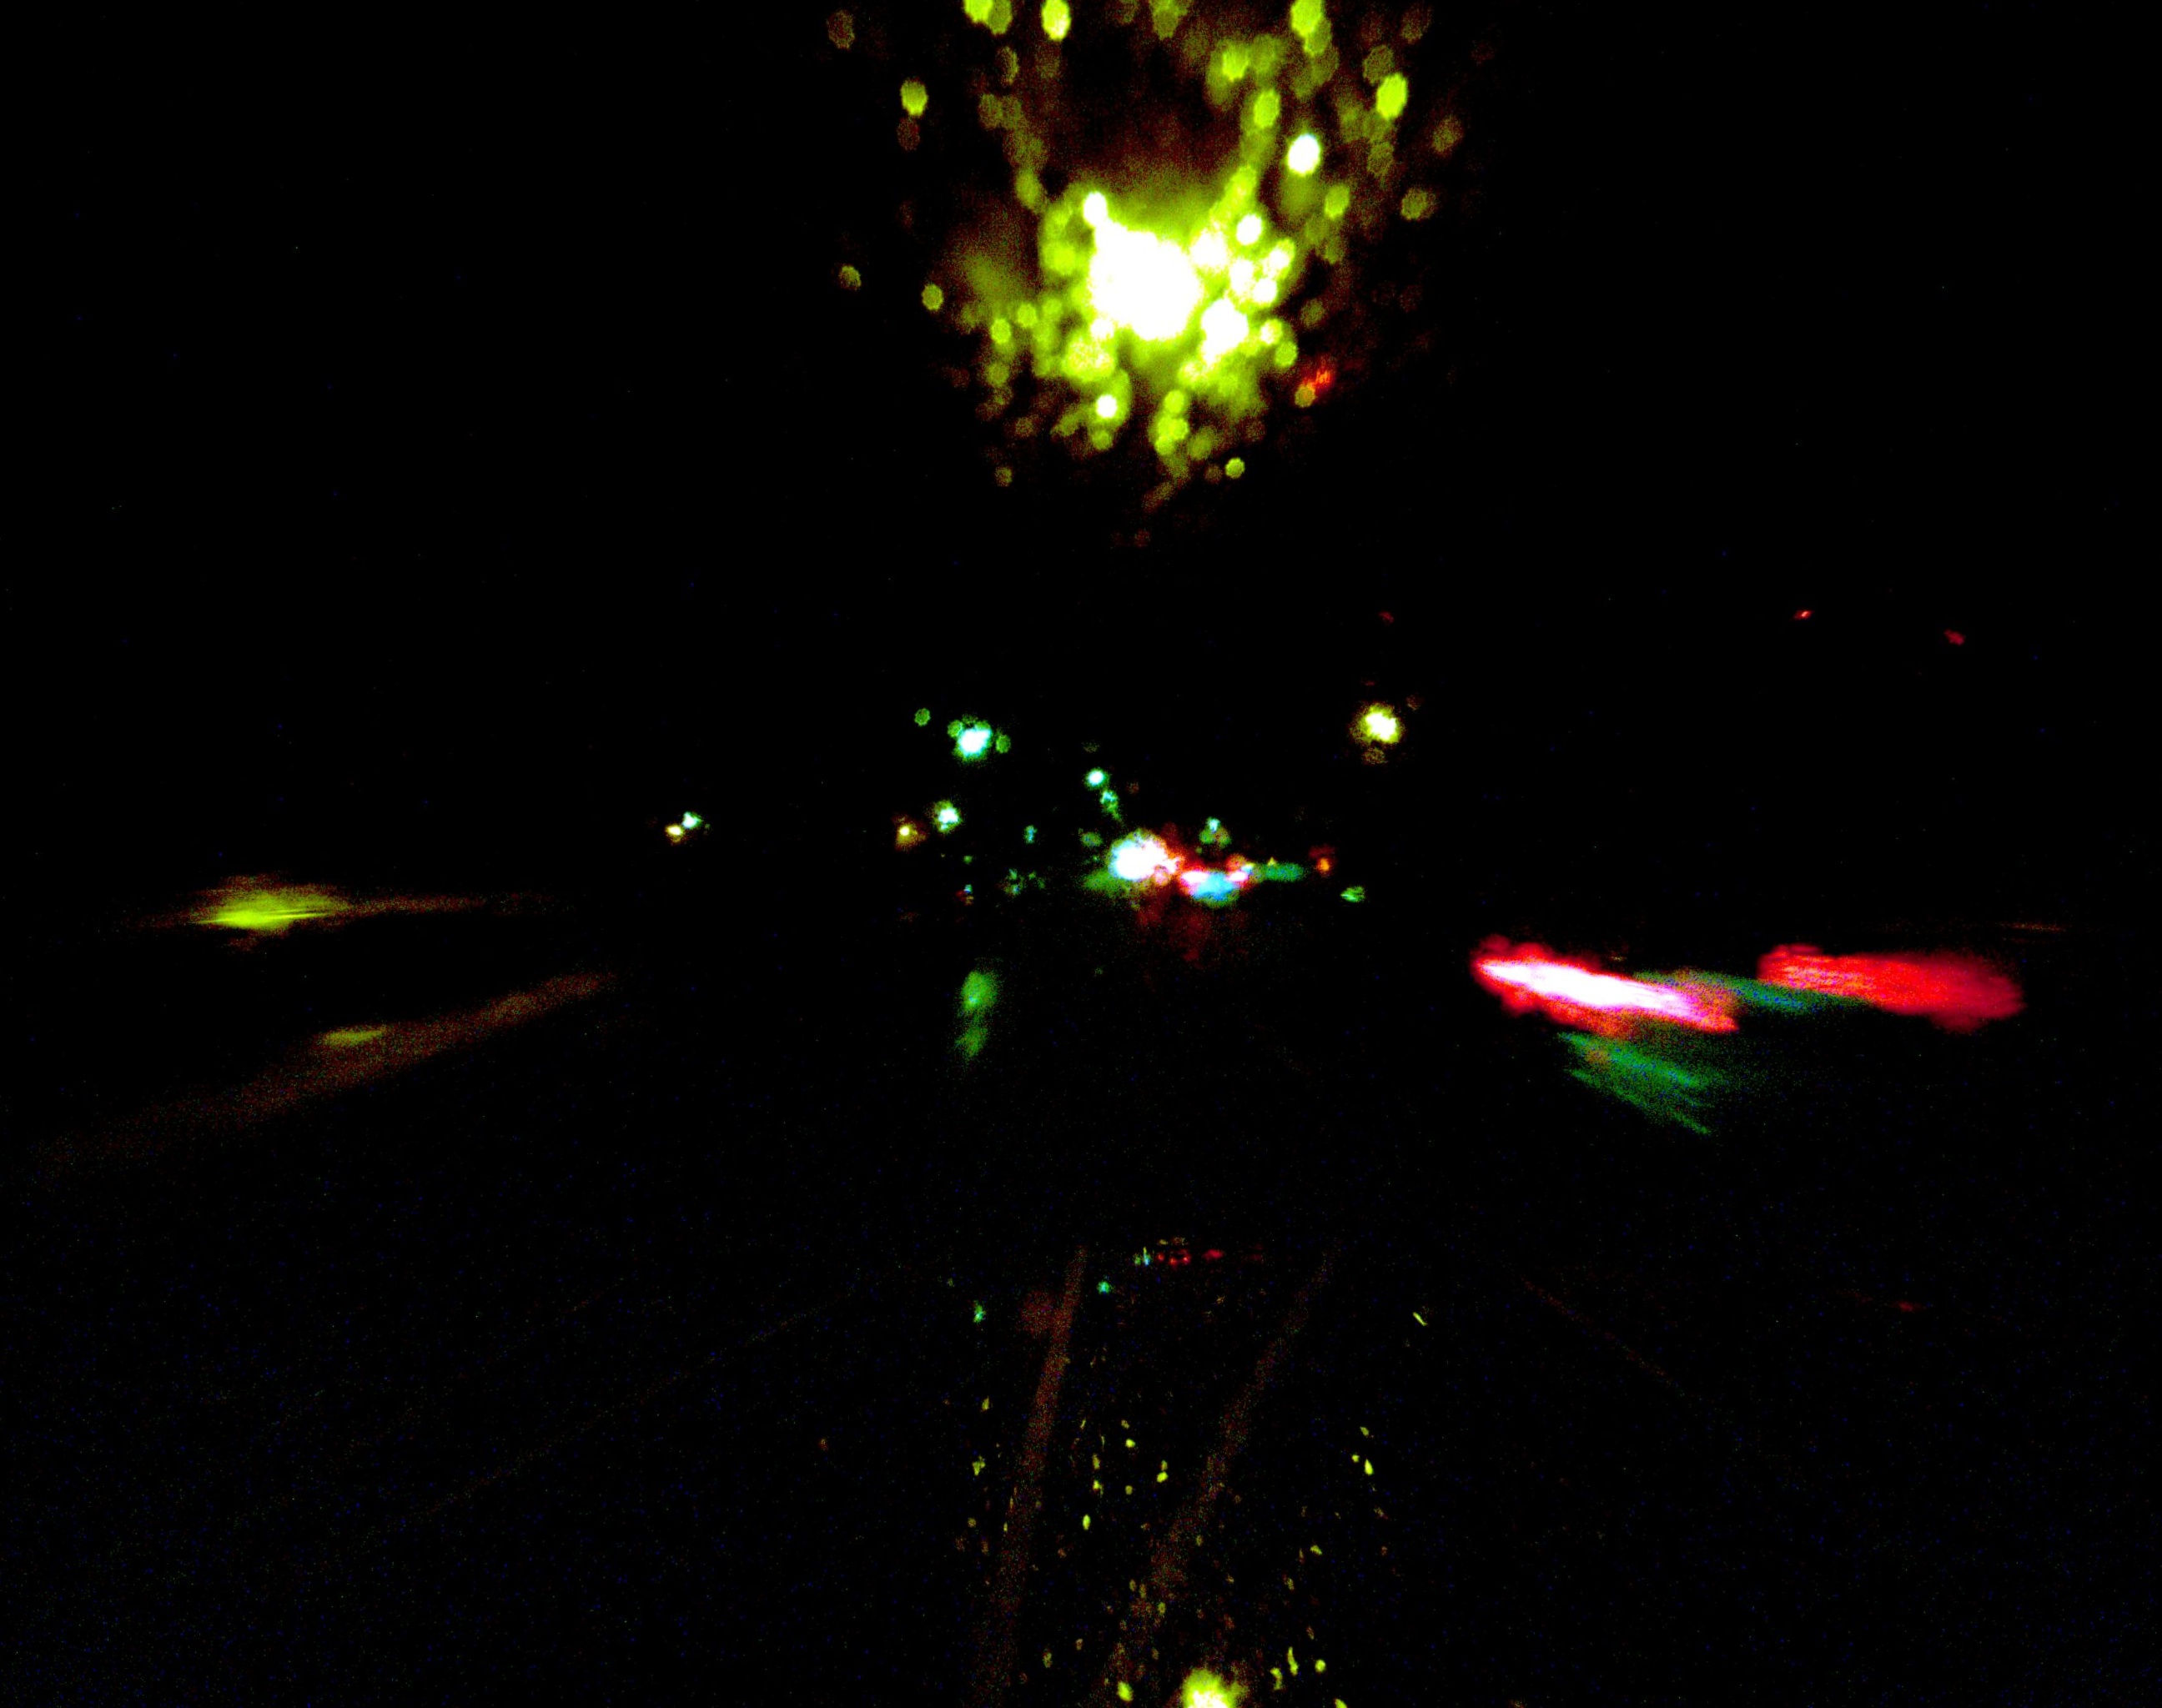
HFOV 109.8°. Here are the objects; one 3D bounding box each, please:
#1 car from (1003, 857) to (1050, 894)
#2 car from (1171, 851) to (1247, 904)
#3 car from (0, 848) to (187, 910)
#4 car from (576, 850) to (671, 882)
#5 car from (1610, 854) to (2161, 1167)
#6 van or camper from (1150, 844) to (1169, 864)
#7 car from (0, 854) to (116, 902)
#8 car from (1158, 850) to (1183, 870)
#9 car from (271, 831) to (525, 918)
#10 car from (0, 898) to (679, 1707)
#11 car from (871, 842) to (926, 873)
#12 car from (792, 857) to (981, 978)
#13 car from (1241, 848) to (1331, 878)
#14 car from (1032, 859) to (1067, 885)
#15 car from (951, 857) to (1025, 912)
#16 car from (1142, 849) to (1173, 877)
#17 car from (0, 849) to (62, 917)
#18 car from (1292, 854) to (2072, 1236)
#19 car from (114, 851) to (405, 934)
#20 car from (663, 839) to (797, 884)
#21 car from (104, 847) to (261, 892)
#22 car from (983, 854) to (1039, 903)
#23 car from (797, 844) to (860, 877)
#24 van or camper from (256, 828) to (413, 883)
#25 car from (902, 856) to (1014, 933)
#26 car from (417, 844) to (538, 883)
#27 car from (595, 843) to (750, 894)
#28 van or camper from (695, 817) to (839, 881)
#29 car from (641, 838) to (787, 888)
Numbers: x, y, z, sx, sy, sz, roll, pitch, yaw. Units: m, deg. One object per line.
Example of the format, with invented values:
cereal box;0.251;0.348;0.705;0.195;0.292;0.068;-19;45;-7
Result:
car;-2.416;0.945;34.783;1.717;1.480;4.436;0;1;1
car;3.725;0.640;22.737;1.679;1.426;4.513;-1;0;2
car;-26.999;0.644;20.396;3.996;1.554;1.774;-1;1;3
car;-21.979;0.553;36.725;1.682;1.405;4.261;-1;1;5
car;6.012;0.759;5.291;1.581;1.448;4.645;1;1;3
van or camper;8.529;0.009;82.914;1.874;2.091;4.943;-1;1;4
car;-38.011;0.845;27.203;4.598;1.579;1.996;-1;1;4
car;7.340;0.466;62.602;1.800;1.453;4.579;-3;1;5
car;-14.945;0.429;16.772;4.075;1.779;1.749;-1;1;3
car;-2.970;0.981;1.694;1.632;1.458;4.510;0;0;2
car;-10.896;0.153;45.768;1.908;1.686;4.259;-3;1;5
car;-2.917;0.863;12.495;1.885;1.563;4.588;1;0;0
car;11.376;0.481;42.332;4.696;1.609;2.002;-1;1;14
car;-1.865;1.040;45.922;1.794;1.440;4.790;1;1;1
car;-2.851;0.886;24.139;1.758;1.520;4.153;1;0;1
car;4.372;0.512;43.711;1.551;1.490;2.793;-3;0;2
car;-27.136;0.707;17.687;4.159;1.555;1.829;-1;1;-2
car;3.031;0.764;5.296;1.862;1.453;4.523;-2;0;0
car;-15.032;0.664;14.031;3.694;1.392;1.620;-1;1;3
car;-13.328;0.264;29.000;4.227;1.608;1.806;-1;1;1
car;-38.238;0.629;32.406;4.662;1.795;1.908;-1;1;4
car;-2.586;0.875;29.074;1.717;1.698;4.186;1;0;0
car;-11.747;0.282;35.579;1.566;1.461;3.408;-1;0;4
van or camper;-36.325;0.056;37.071;5.389;2.539;2.382;-1;1;3
car;-2.772;0.852;18.114;1.885;1.563;4.527;1;0;0
car;-26.002;0.391;32.812;3.997;1.567;1.565;-1;1;1
car;-12.921;0.435;24.178;3.996;1.512;1.685;-1;1;1
van or camper;-13.126;-0.192;31.964;5.073;2.512;2.172;-1;1;5
car;-12.714;0.304;26.452;4.227;1.608;1.685;-1;1;1
